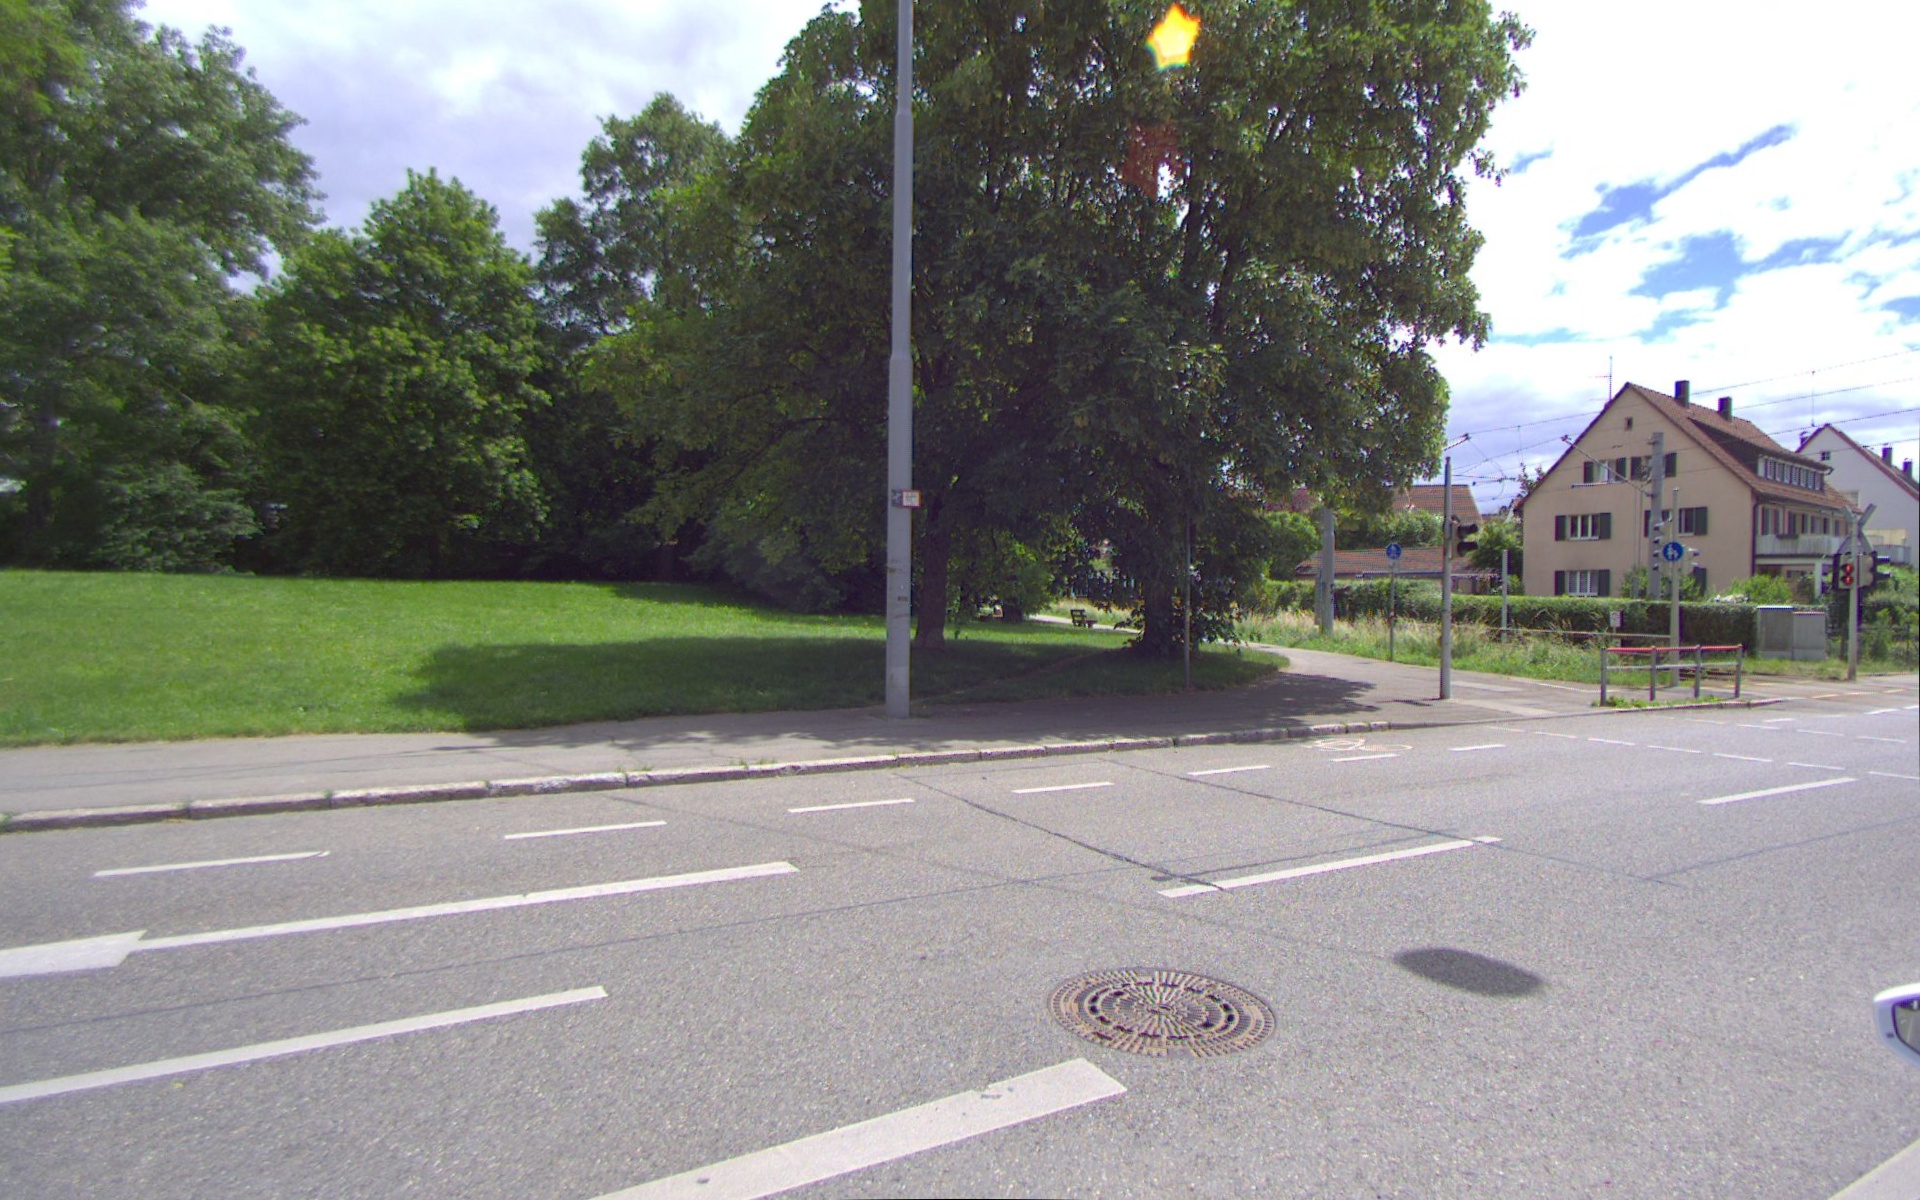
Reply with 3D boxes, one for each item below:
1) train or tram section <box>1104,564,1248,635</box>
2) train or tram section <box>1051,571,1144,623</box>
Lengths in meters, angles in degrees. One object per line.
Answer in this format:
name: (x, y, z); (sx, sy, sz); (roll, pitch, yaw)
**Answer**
train or tram section: (12.897, -0.123, 63.018); (2.864, 3.754, 19.098); (1, 1, -6)
train or tram section: (10.793, -0.336, 81.989); (2.864, 3.754, 19.098); (1, 1, -6)
